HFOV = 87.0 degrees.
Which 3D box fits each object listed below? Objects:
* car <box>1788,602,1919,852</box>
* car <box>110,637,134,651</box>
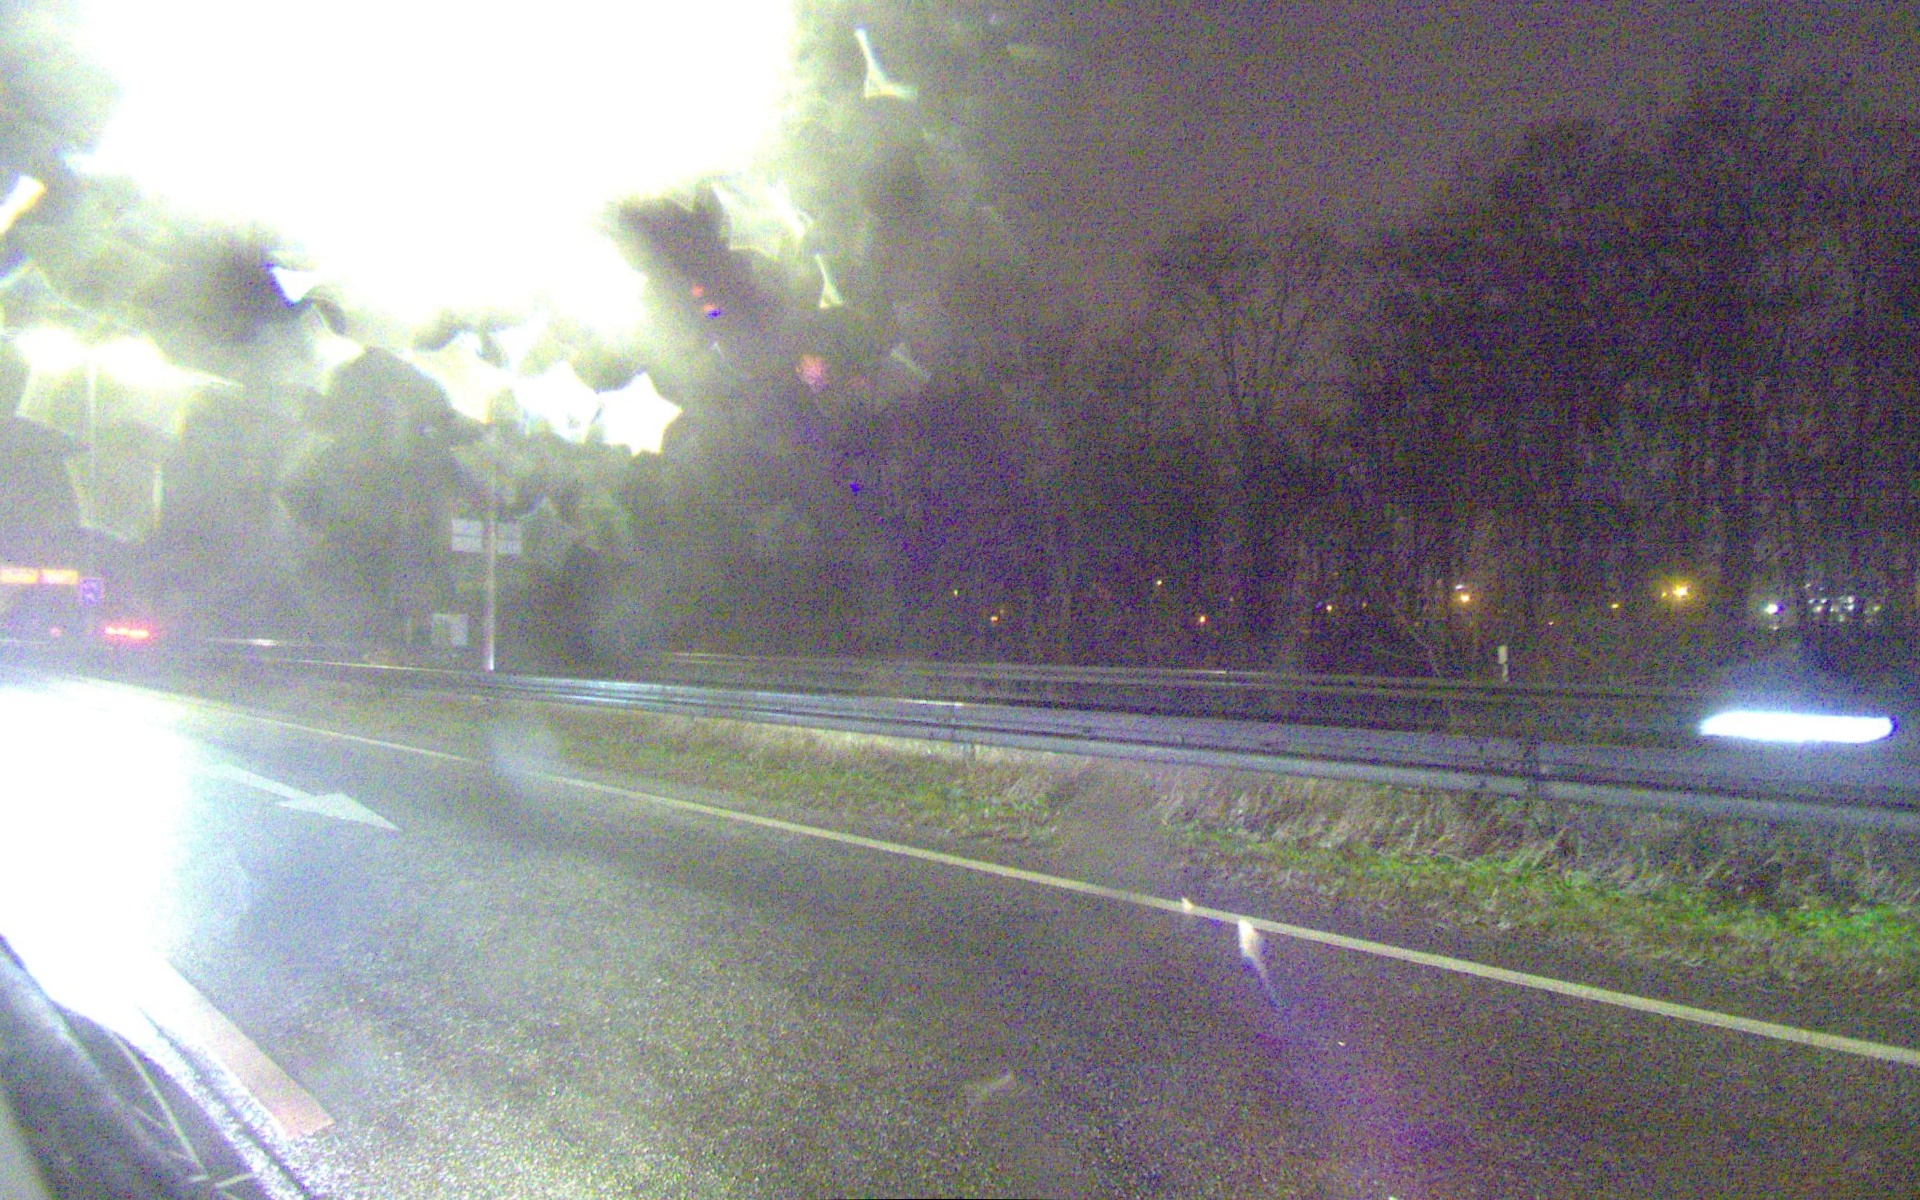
[{"bbox_3d":[7.623,0.781,6.109,4.007,1.564,1.733,-2,-2,41],"label":"car"},{"bbox_3d":[-103.670,5.391,125.145,4.001,1.660,1.841,-2,-1,44],"label":"car"}]
